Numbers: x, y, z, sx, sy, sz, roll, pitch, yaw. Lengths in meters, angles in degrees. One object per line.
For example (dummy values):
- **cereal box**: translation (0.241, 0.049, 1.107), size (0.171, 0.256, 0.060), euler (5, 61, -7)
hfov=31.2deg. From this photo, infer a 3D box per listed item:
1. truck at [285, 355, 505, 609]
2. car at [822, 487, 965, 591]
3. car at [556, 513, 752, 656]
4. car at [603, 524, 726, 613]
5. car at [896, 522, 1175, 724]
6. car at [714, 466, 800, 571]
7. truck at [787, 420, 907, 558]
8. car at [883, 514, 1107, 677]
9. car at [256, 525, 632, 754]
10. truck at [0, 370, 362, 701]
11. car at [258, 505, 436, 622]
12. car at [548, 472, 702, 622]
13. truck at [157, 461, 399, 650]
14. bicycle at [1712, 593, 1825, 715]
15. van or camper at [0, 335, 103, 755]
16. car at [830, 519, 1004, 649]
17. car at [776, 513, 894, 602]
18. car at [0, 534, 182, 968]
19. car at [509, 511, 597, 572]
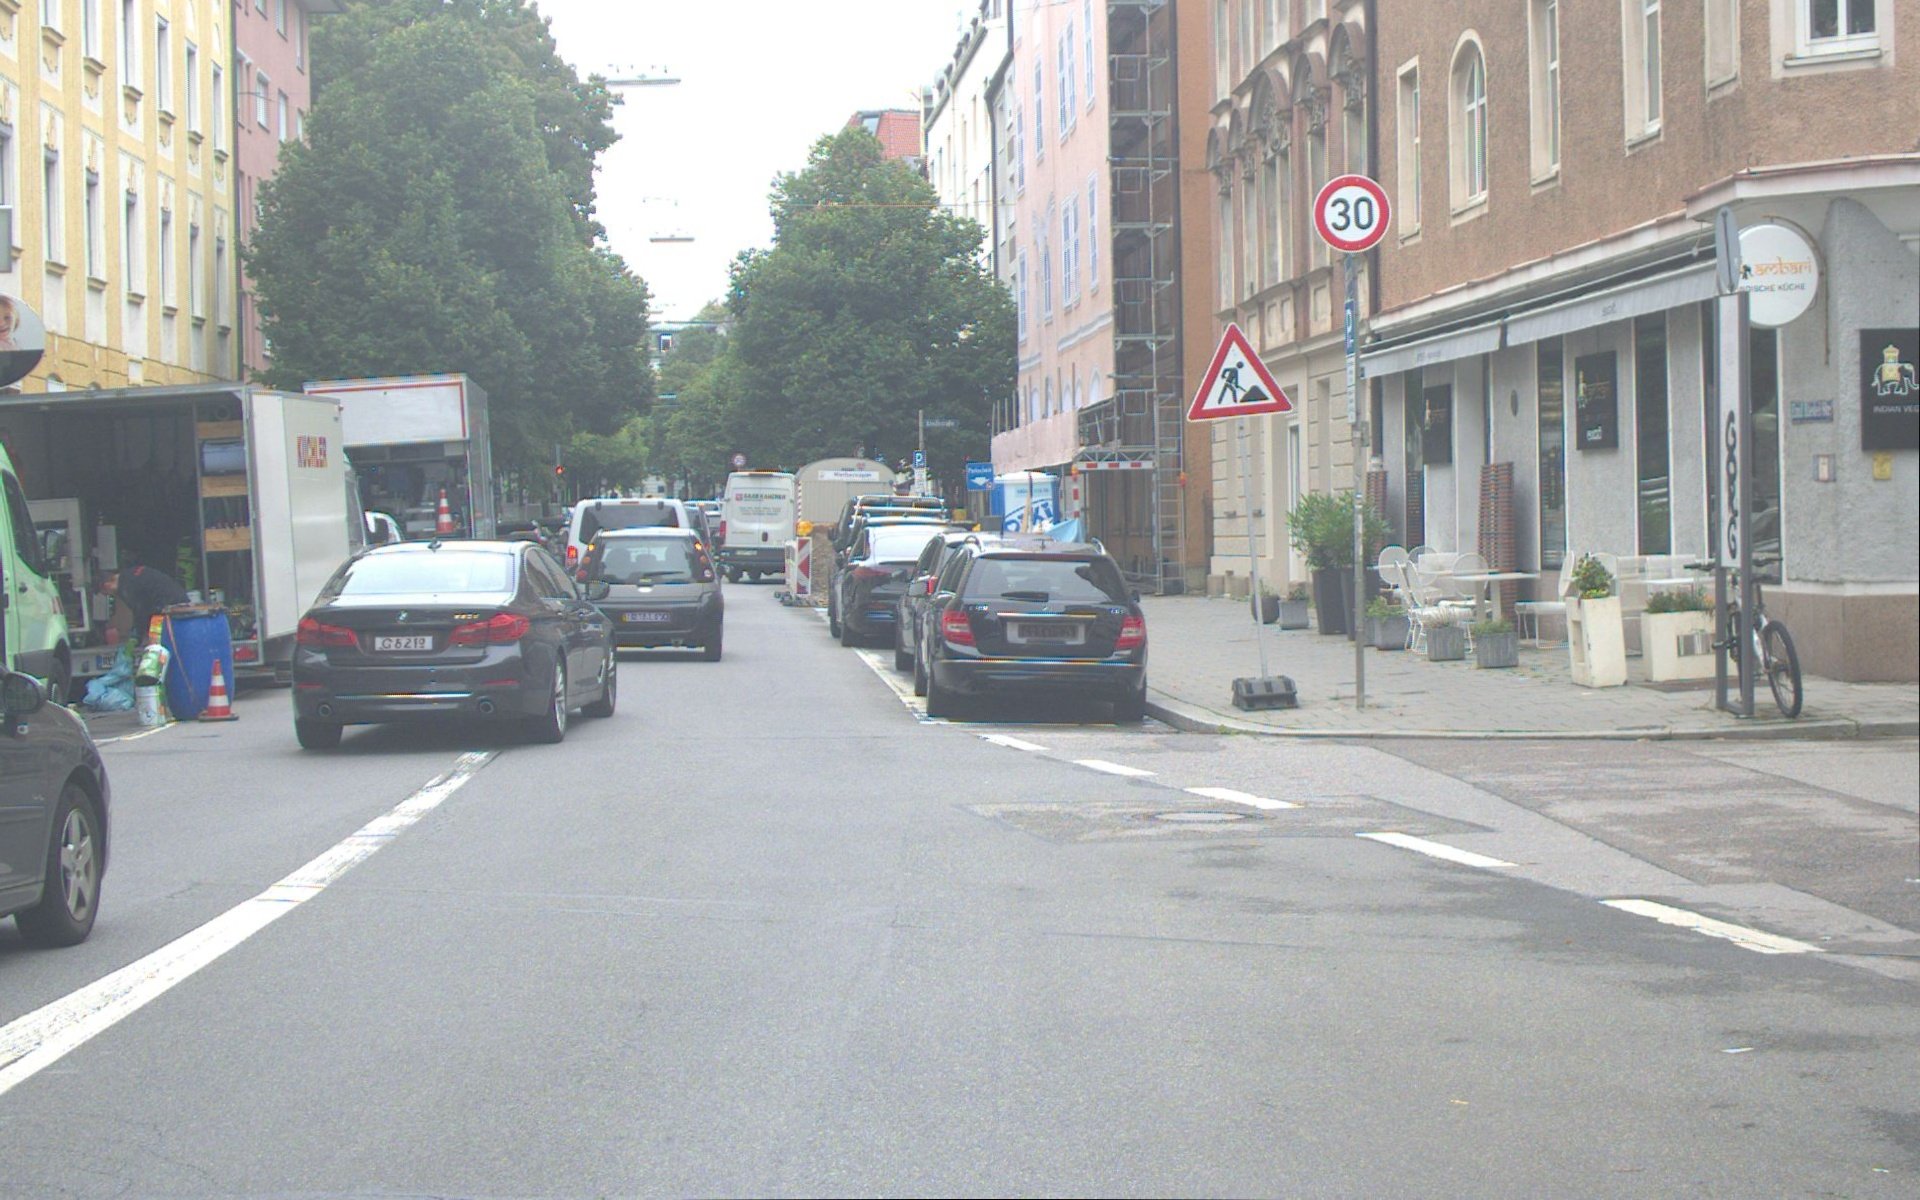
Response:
- **truck**: translation (-9.214, -1.912, 56.769), size (3.012, 3.938, 6.997), euler (0, 1, -5)
- **car**: translation (-1.027, -0.933, 50.996), size (1.990, 1.424, 4.141), euler (-1, 2, -3)
- **car**: translation (-3.361, -0.215, 38.485), size (1.990, 1.424, 4.141), euler (-1, 2, -3)
- **car**: translation (-5.216, -0.590, 61.099), size (1.990, 1.424, 4.141), euler (-1, 2, -3)
- **car**: translation (0.540, 0.133, 28.447), size (1.844, 1.424, 4.184), euler (2, 2, -5)
- **car**: translation (-4.909, -1.984, 83.809), size (1.939, 2.471, 4.783), euler (0, 1, -2)
- **truck**: translation (-2.579, -2.452, 76.851), size (2.491, 2.963, 5.328), euler (0, 1, -4)
- **car**: translation (0.291, -0.092, 34.632), size (1.844, 1.424, 4.141), euler (2, 2, -5)
- **car**: translation (-3.694, 0.214, 25.509), size (1.990, 1.424, 4.906), euler (-1, 2, 0)
- **truck**: translation (-7.677, -0.702, 33.680), size (2.773, 2.863, 7.203), euler (-1, 2, -4)
- **car**: translation (-8.759, -0.549, 49.406), size (1.990, 1.605, 4.141), euler (0, 1, -3)
- **car**: translation (-4.828, -0.817, 50.005), size (1.990, 2.068, 4.141), euler (-1, 2, -3)
- **truck**: translation (-8.227, -0.568, 41.887), size (2.286, 2.164, 4.807), euler (0, 1, -4)
- **bicycle**: translation (5.649, 0.365, 24.066), size (0.456, 0.802, 1.326), euler (0, 1, -1)
- **van or camper**: translation (-7.795, -0.363, 23.368), size (2.600, 2.830, 6.187), euler (-1, 2, -3)
- **car**: translation (-0.596, -0.239, 42.989), size (1.844, 1.424, 4.307), euler (2, 2, -5)
- **car**: translation (-2.221, -0.775, 60.660), size (1.990, 1.424, 4.141), euler (-1, 2, -3)
- **car**: translation (-4.131, 0.528, 11.596), size (1.759, 1.456, 4.074), euler (-1, 1, 5)
- **car**: translation (-9.876, -1.445, 83.658), size (1.939, 1.443, 3.867), euler (0, 1, -4)
